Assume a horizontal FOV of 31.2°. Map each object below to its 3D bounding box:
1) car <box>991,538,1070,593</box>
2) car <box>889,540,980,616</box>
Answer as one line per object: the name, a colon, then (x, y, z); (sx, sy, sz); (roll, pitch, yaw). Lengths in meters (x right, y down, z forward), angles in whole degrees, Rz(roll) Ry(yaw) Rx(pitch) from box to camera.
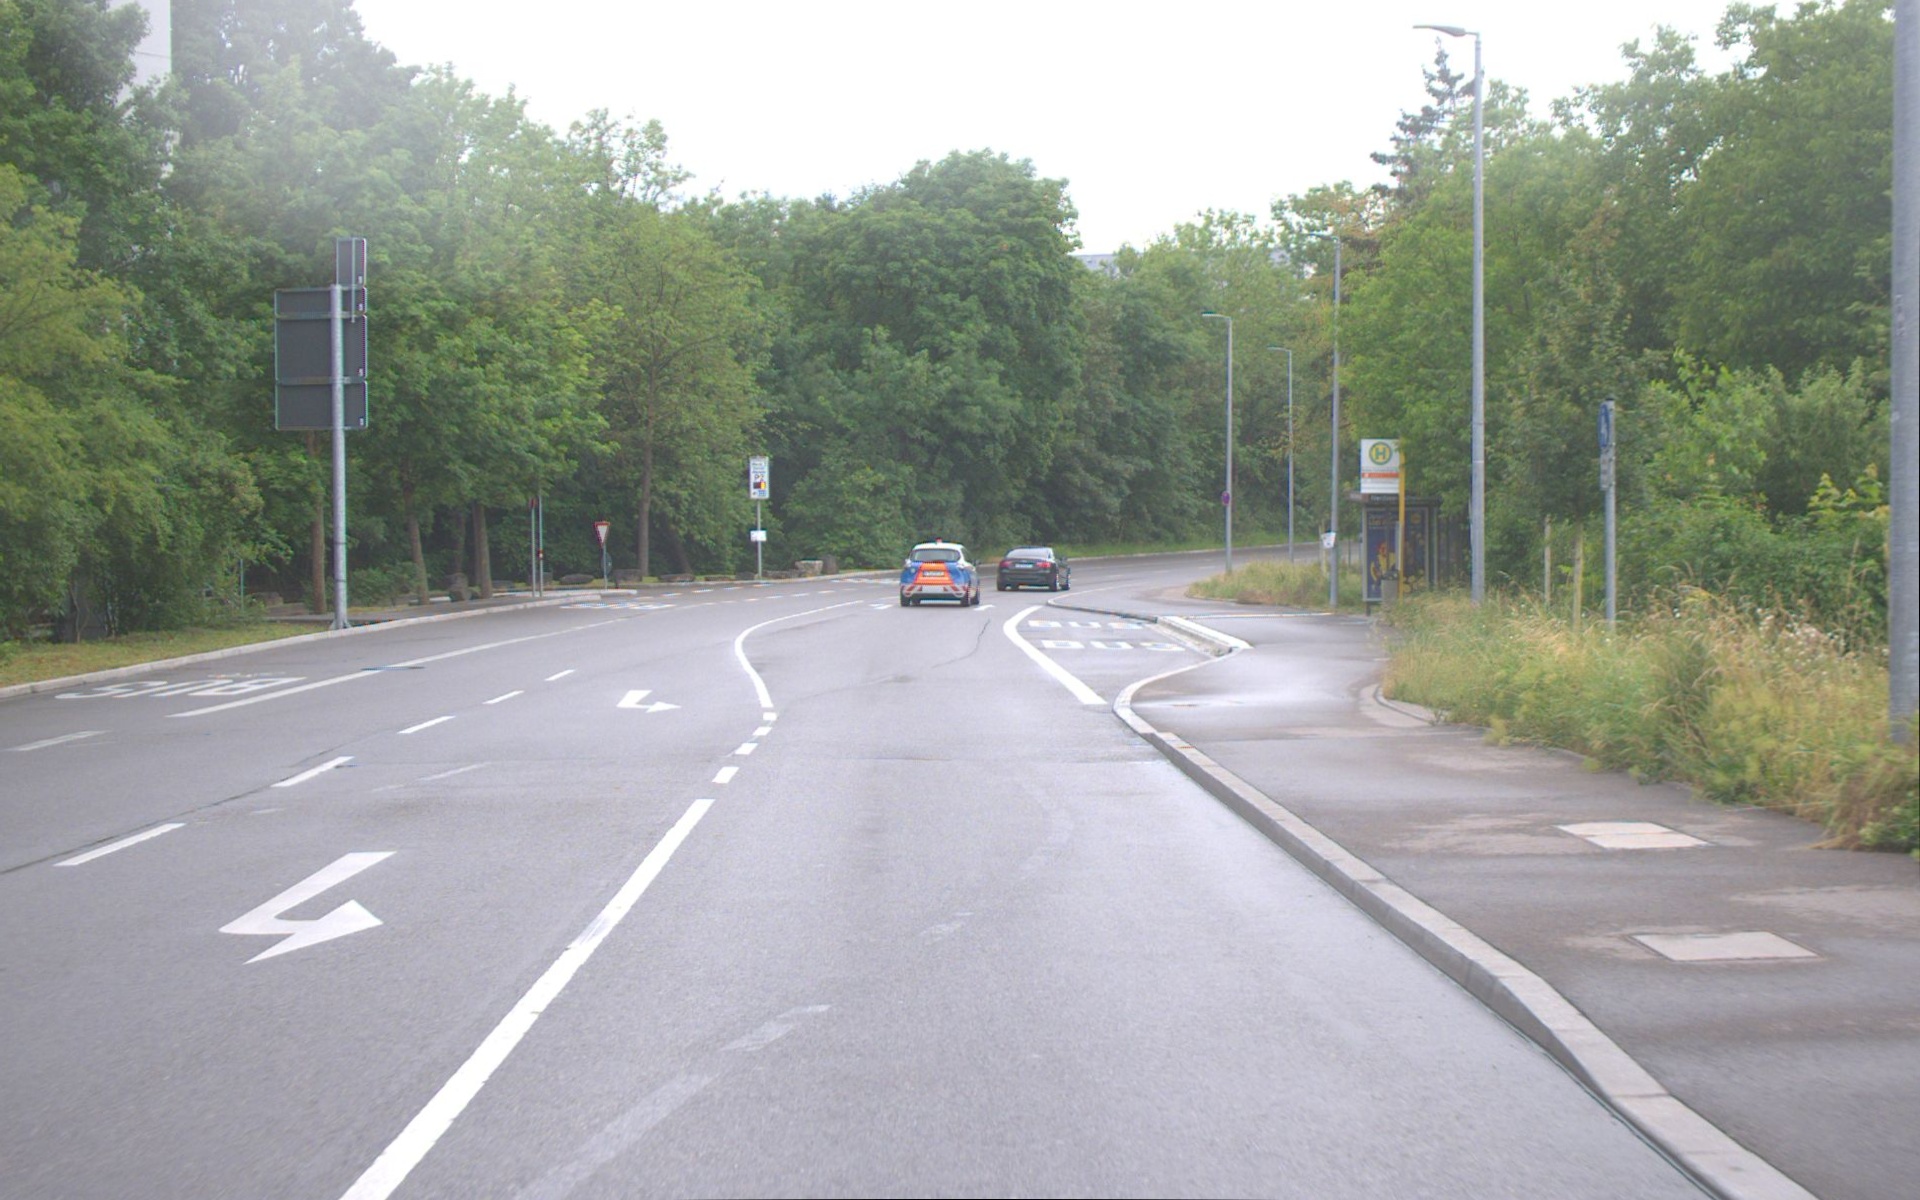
car: (2.181, -1.073, 105.788); (1.928, 1.481, 3.799); (-1, 3, 9)
car: (-0.601, -0.563, 85.664); (1.994, 1.683, 4.000); (-1, 3, 3)
